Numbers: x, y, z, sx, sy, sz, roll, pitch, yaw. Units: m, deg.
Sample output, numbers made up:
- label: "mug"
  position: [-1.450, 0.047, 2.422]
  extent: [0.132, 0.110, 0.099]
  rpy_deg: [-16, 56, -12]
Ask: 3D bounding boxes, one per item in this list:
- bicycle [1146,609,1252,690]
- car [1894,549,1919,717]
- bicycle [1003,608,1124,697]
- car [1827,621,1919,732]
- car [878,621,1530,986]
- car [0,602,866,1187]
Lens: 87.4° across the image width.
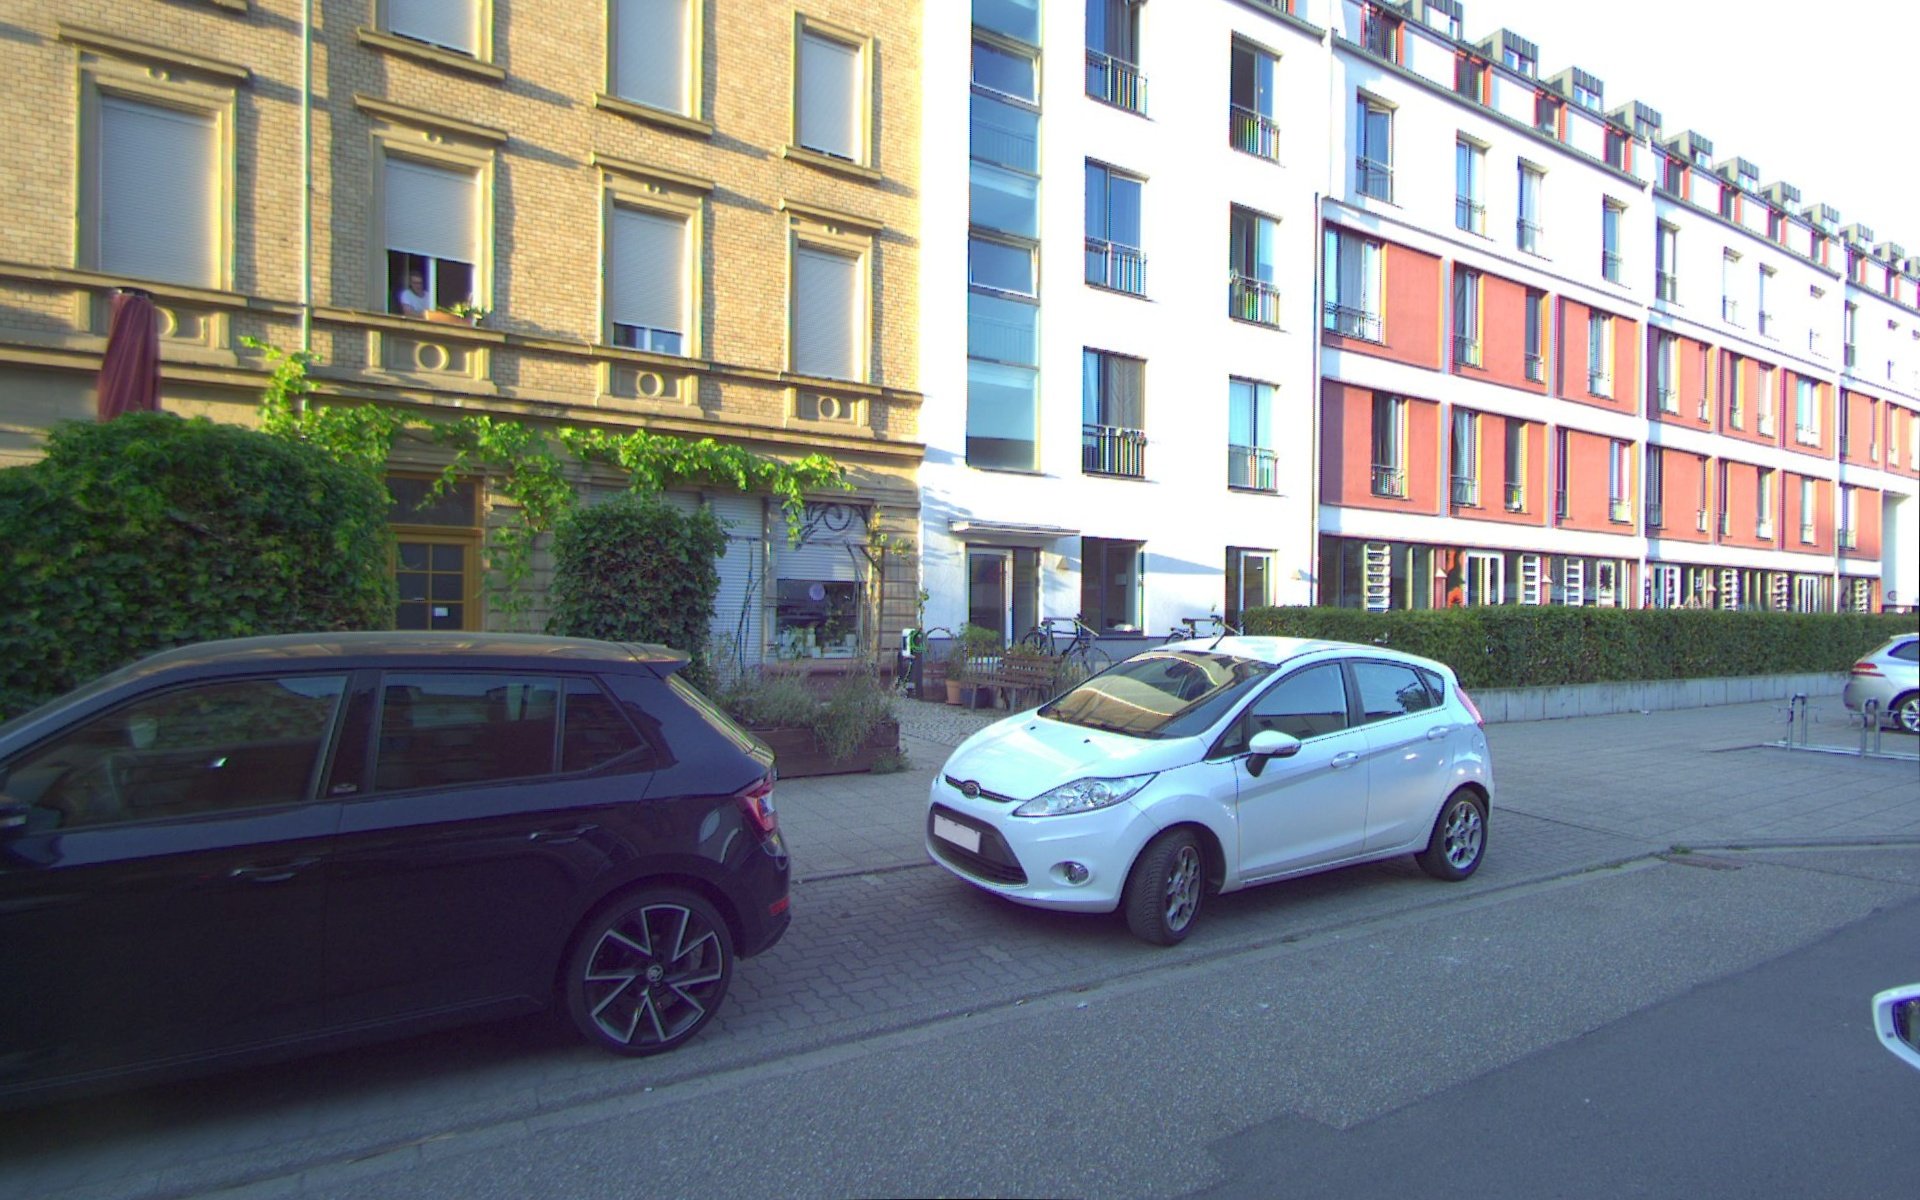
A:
- label: "bicycle"
  position: [3.752, 0.752, 15.919]
  extent: [0.603, 1.163, 1.768]
  rpy_deg: [1, 1, -28]
- label: "car"
  position: [16.794, 0.574, 14.443]
  extent: [1.976, 2.619, 4.491]
  rpy_deg: [1, 1, -29]
- label: "bicycle"
  position: [1.475, 0.732, 14.679]
  extent: [0.802, 1.157, 1.906]
  rpy_deg: [1, 1, -29]
- label: "car"
  position: [14.596, 1.101, 13.145]
  extent: [1.861, 1.480, 4.587]
  rpy_deg: [1, 1, -33]
- label: "car"
  position: [1.636, 0.934, 6.172]
  extent: [3.975, 1.550, 1.641]
  rpy_deg: [1, 0, -34]
- label: "car"
  position: [-2.437, 0.808, 3.766]
  extent: [3.800, 1.554, 1.695]
  rpy_deg: [1, 0, -31]
